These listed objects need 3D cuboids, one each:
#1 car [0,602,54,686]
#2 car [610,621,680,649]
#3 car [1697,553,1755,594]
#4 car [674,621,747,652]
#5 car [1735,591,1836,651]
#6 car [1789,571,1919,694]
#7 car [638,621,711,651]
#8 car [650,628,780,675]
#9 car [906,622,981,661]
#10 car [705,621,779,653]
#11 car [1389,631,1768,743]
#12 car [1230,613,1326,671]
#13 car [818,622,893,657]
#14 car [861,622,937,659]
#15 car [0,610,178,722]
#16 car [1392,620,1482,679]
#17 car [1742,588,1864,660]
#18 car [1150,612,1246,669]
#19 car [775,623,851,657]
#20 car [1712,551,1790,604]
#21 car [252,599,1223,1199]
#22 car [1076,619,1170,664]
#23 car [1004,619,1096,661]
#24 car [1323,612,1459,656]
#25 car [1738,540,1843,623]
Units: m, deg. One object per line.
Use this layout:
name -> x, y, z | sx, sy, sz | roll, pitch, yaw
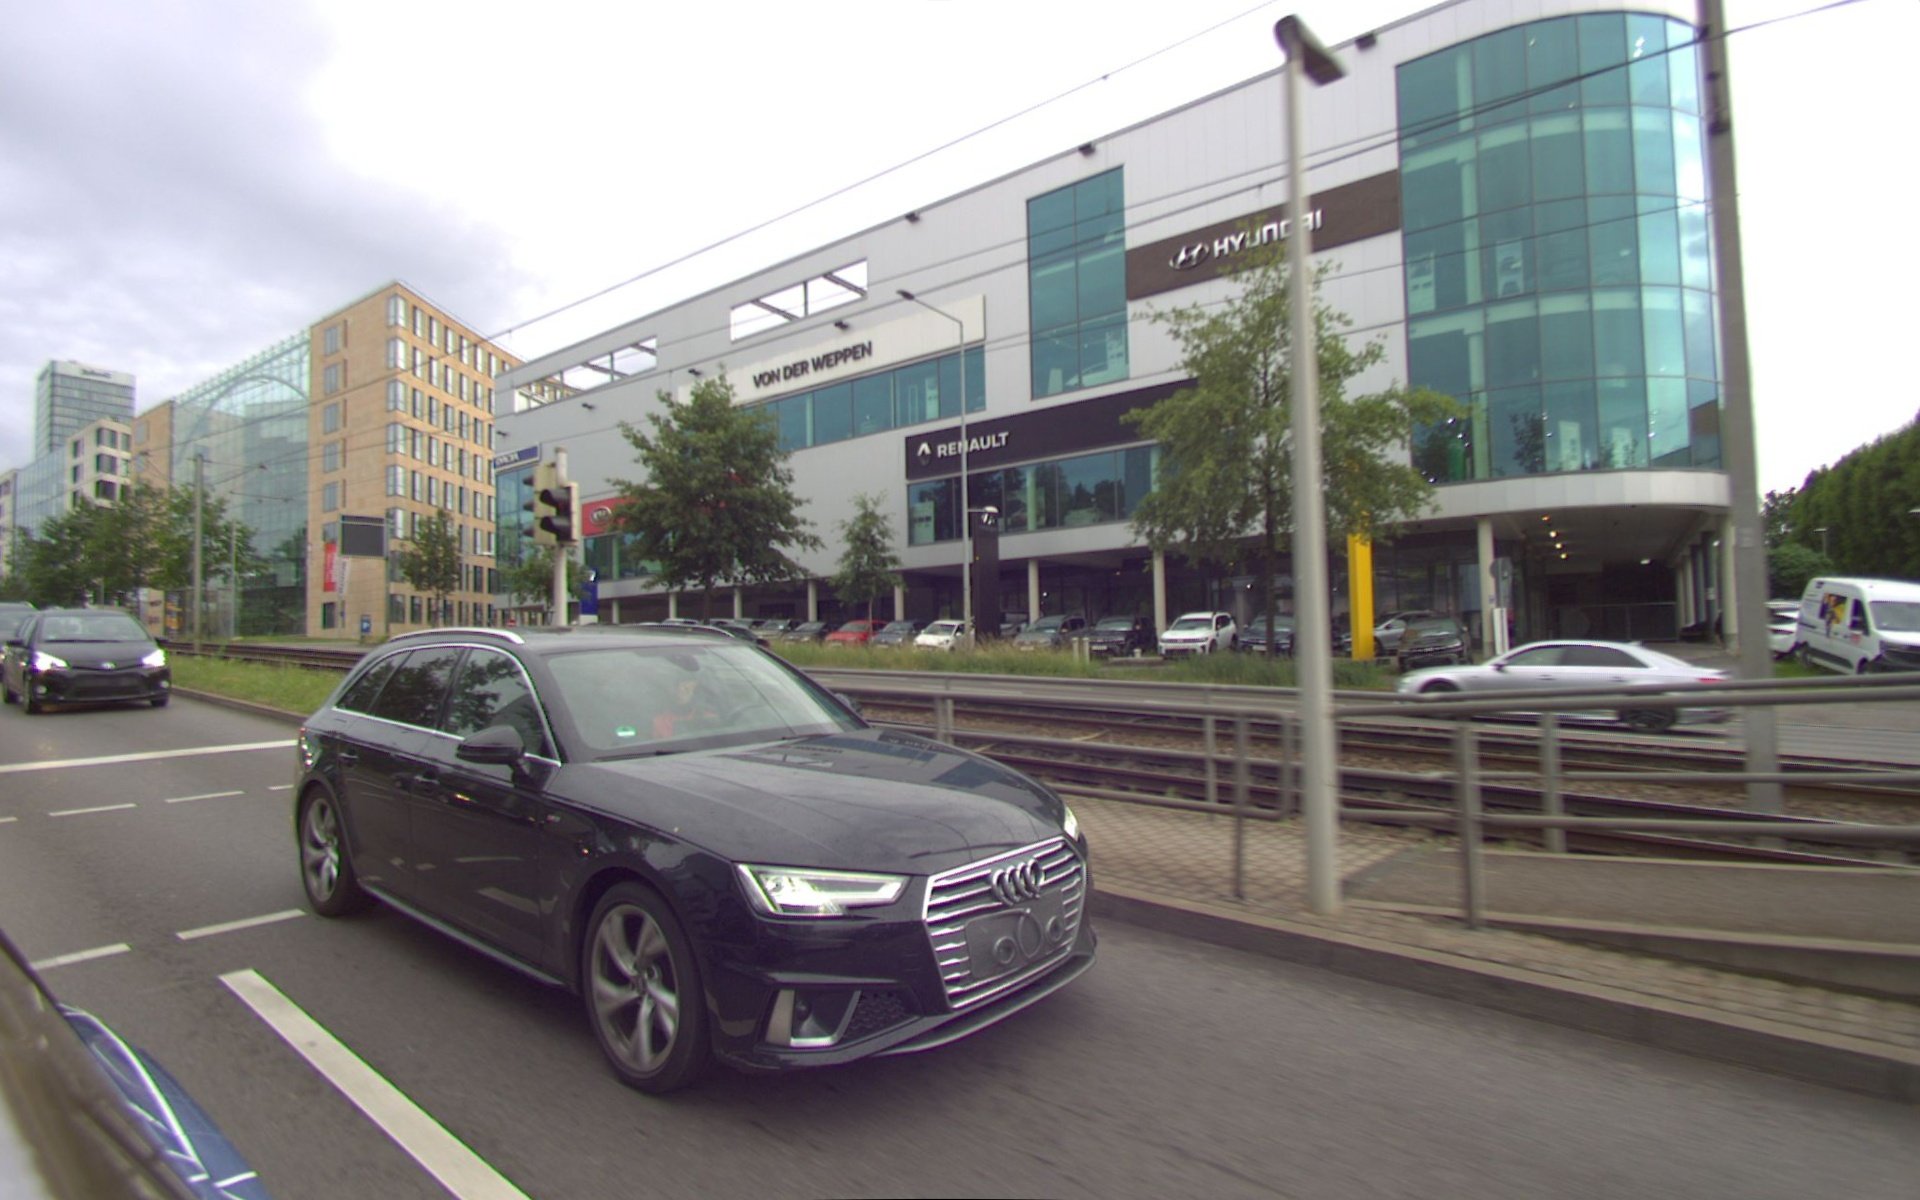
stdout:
car -> -20.862, 0.927, 21.628 | 4.128, 1.693, 1.758 | -2, -2, 41
car -> -17.239, 1.908, 55.614 | 1.809, 1.502, 3.819 | -1, -1, 18
car -> 50.039, -1.672, 66.216 | 2.741, 2.513, 5.420 | -1, 0, 35
car -> -12.890, 1.865, 52.481 | 1.812, 1.502, 3.813 | -1, -1, 22
car -> 28.753, 0.675, 35.424 | 2.274, 1.941, 5.420 | -1, 0, 35
car -> 22.128, 0.682, 24.086 | 2.265, 2.649, 5.441 | -1, 0, 23
car -> -15.204, 1.882, 54.007 | 1.812, 1.502, 3.813 | -1, -1, 22
car -> -8.555, 1.727, 35.139 | 4.871, 1.447, 1.973 | -1, 0, 41
car -> -0.636, 1.704, 42.326 | 1.812, 1.502, 3.813 | -1, -1, 22
car -> -10.876, 1.835, 50.705 | 1.812, 1.502, 3.813 | -1, -1, 22
car -> 9.655, 1.253, 16.057 | 4.871, 1.399, 1.973 | -1, 0, 41
car -> 10.382, 1.310, 32.909 | 1.917, 1.674, 3.954 | -1, 0, 34
car -> -4.638, 1.739, 45.418 | 1.812, 1.502, 3.813 | -1, -1, 22
car -> -2.591, 1.722, 44.030 | 1.812, 1.502, 3.813 | -1, -1, 22
car -> -13.732, 0.947, 15.743 | 3.999, 1.513, 1.775 | -2, -2, 42
car -> 13.883, 1.372, 29.351 | 1.891, 1.519, 3.956 | -1, 0, 33
car -> 24.905, 0.648, 30.095 | 2.274, 1.941, 5.420 | -1, 0, 35
car -> 8.178, 1.331, 34.568 | 1.917, 1.674, 3.954 | -1, 1, 34
car -> -6.807, 1.831, 47.111 | 1.812, 1.502, 3.813 | -1, -1, 22
car -> 39.914, -1.086, 51.189 | 2.741, 2.513, 5.420 | -1, 0, 35
car -> -1.448, 0.778, 4.570 | 4.826, 1.445, 1.771 | -2, -2, 41
car -> 5.894, 1.454, 36.239 | 1.819, 1.502, 3.954 | -1, -1, 34
car -> 3.485, 1.487, 38.622 | 1.819, 1.502, 3.954 | -1, -1, 34
car -> 15.010, 1.176, 35.373 | 3.946, 1.480, 1.770 | -1, -1, 2
car -> 35.631, -0.737, 43.610 | 2.994, 3.296, 5.420 | -1, 0, 35
